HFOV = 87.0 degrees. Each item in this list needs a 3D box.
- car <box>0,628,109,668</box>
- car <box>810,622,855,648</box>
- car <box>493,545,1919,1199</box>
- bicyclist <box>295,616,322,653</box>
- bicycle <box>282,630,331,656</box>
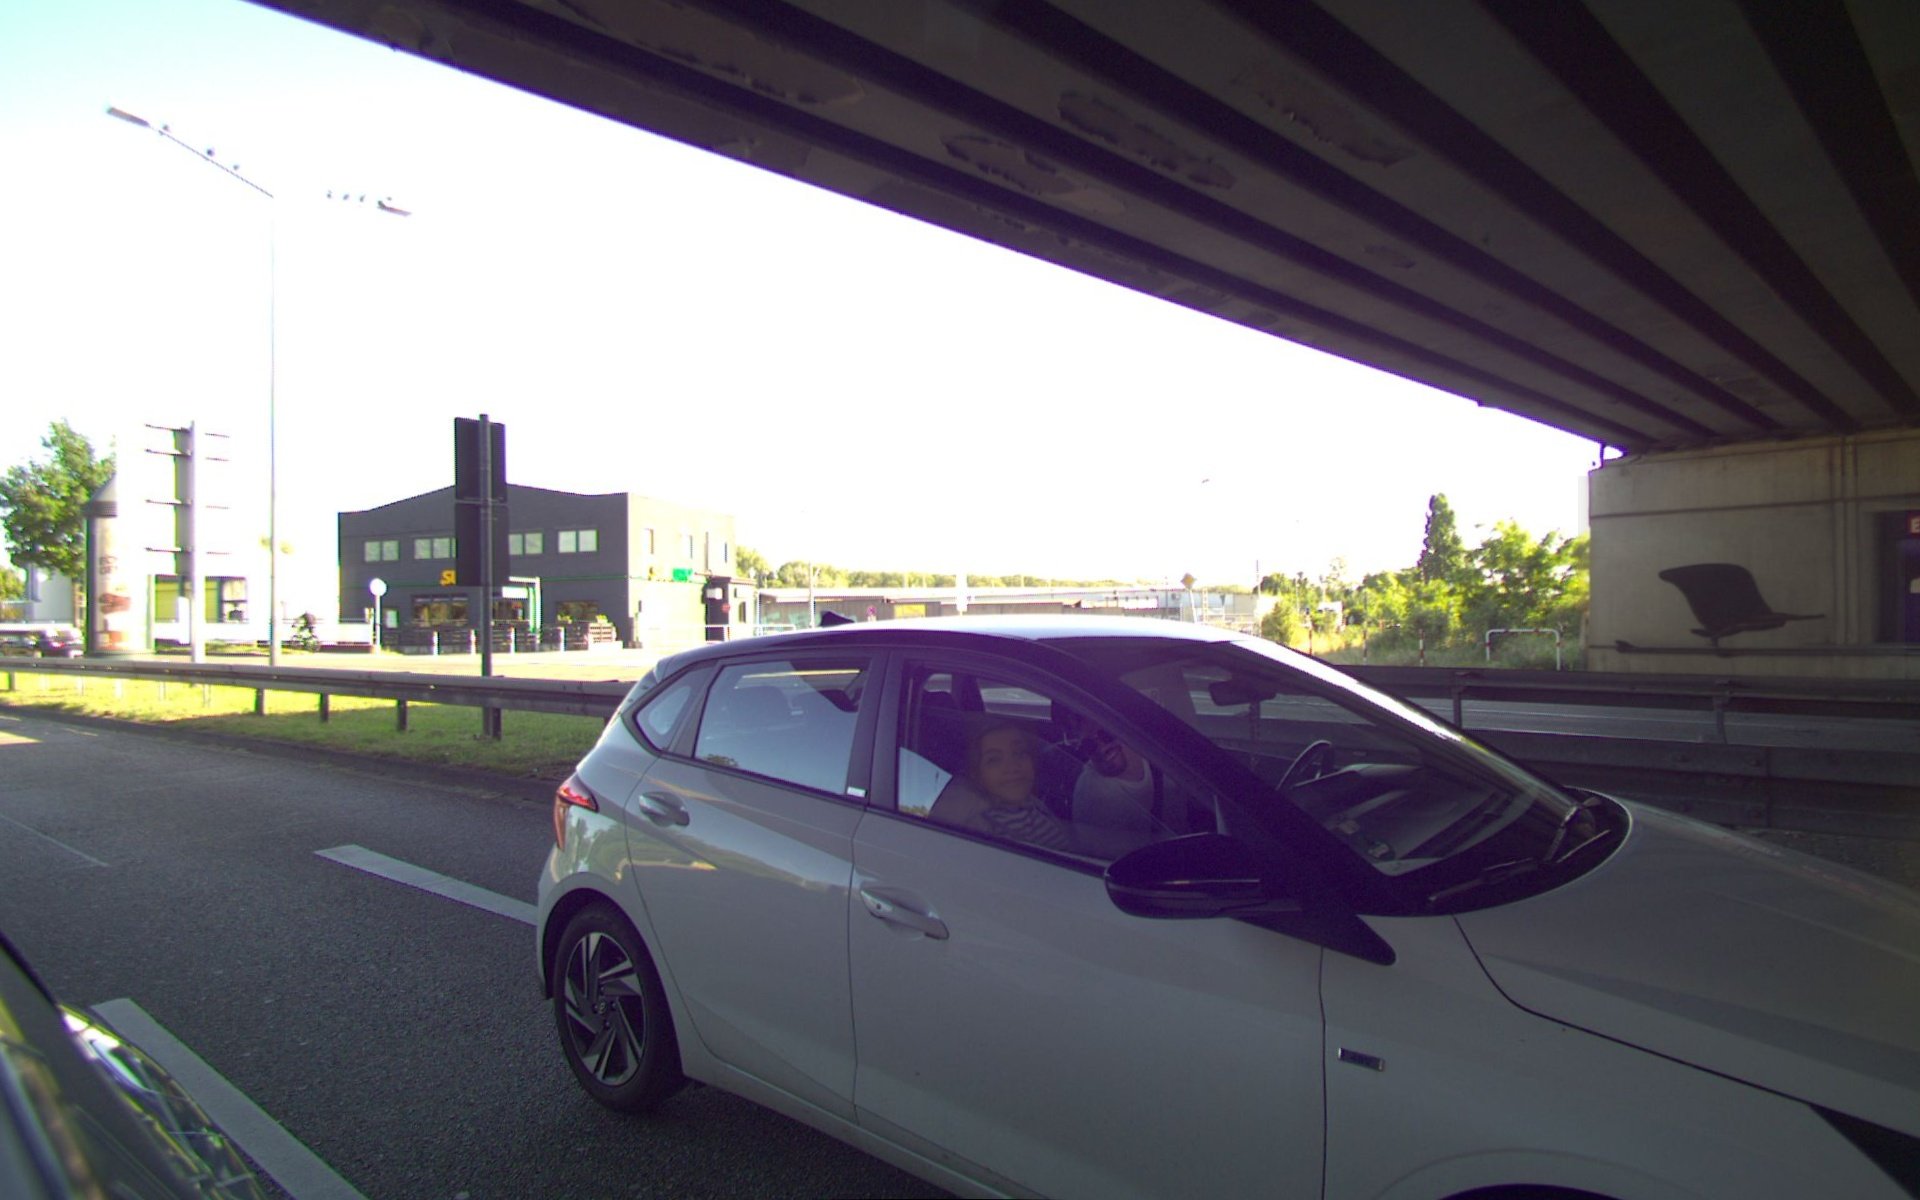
[{"bbox_3d":[-31.403,1.636,34.759,4.159,1.291,1.733,-1,-4,26],"label":"car"},{"bbox_3d":[-6.886,1.921,54.968,1.806,1.291,4.180,1,-3,1],"label":"car"},{"bbox_3d":[0.549,0.713,2.676,3.987,1.491,1.716,-1,-1,40],"label":"car"},{"bbox_3d":[-26.033,1.379,40.457,0.701,1.438,0.591,-1,0,13],"label":"bicyclist"},{"bbox_3d":[-26.119,1.726,40.463,1.733,1.031,0.591,-1,0,13],"label":"bicycle"}]
